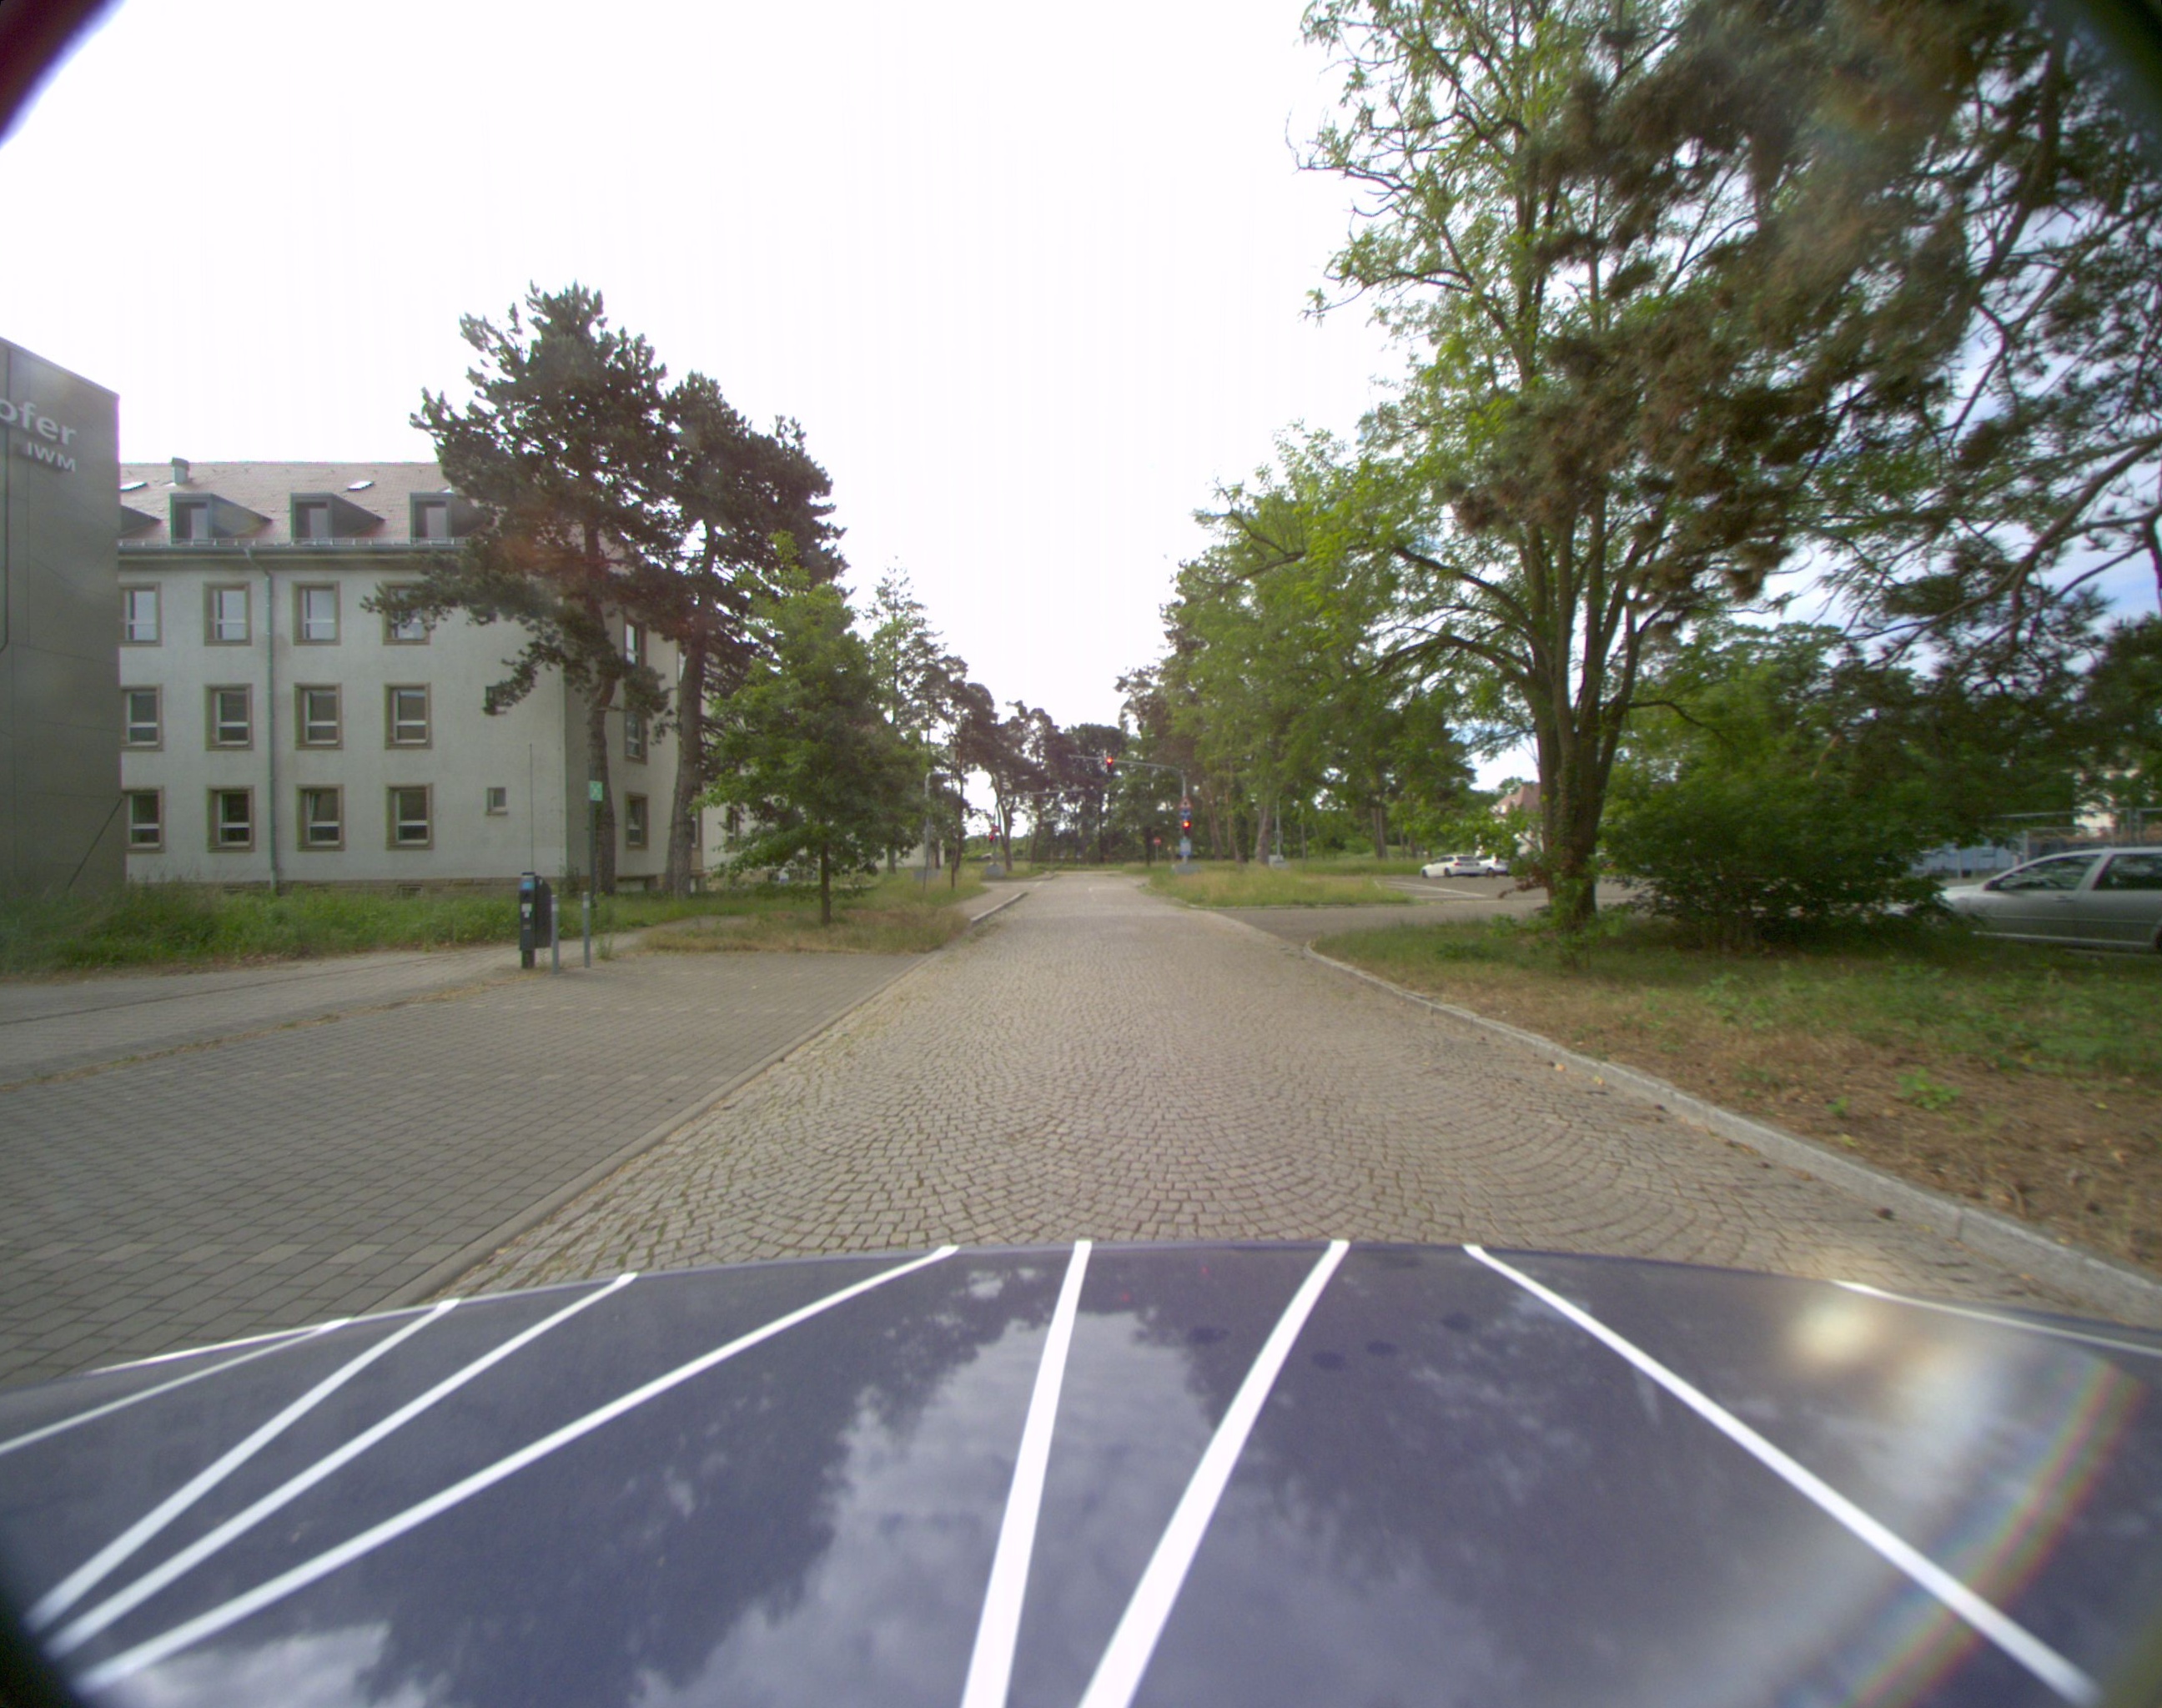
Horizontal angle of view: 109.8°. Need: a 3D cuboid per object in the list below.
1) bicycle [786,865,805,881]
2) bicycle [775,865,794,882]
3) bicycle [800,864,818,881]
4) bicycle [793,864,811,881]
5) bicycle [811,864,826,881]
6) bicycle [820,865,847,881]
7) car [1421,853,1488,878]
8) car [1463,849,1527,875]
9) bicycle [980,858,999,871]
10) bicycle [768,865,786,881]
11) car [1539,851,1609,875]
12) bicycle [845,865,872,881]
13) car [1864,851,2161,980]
[{"bbox_3d":[-20.386,1.336,54.299,0.447,1.121,1.732,-1,0,8],"label":"bicycle"},{"bbox_3d":[-21.178,1.374,54.247,0.447,1.121,1.732,-1,0,8],"label":"bicycle"},{"bbox_3d":[-19.415,1.320,54.214,0.476,1.121,1.704,-1,0,8],"label":"bicycle"},{"bbox_3d":[-19.909,1.316,54.236,0.447,1.121,1.703,-1,0,8],"label":"bicycle"},{"bbox_3d":[-18.792,1.323,54.451,0.476,1.121,1.656,-1,0,-1],"label":"bicycle"},{"bbox_3d":[-17.217,1.323,52.823,1.655,1.079,0.615,-1,0,2],"label":"bicycle"},{"bbox_3d":[22.891,0.682,46.713,1.829,1.417,4.319,-1,0,-3],"label":"car"},{"bbox_3d":[25.396,0.540,46.776,1.674,1.510,3.899,-1,-2,-3],"label":"car"},{"bbox_3d":[-7.306,0.833,60.967,0.613,1.079,1.660,-1,0,32],"label":"bicycle"},{"bbox_3d":[-21.728,1.327,54.288,0.448,1.121,1.731,-1,0,3],"label":"bicycle"},{"bbox_3d":[30.837,0.552,47.705,1.637,1.391,4.036,-1,0,-3],"label":"car"},{"bbox_3d":[-15.518,1.308,52.975,1.656,1.079,0.614,-1,0,-3],"label":"bicycle"},{"bbox_3d":[12.733,0.701,9.192,1.829,1.408,4.420,2,0,-2],"label":"car"}]
